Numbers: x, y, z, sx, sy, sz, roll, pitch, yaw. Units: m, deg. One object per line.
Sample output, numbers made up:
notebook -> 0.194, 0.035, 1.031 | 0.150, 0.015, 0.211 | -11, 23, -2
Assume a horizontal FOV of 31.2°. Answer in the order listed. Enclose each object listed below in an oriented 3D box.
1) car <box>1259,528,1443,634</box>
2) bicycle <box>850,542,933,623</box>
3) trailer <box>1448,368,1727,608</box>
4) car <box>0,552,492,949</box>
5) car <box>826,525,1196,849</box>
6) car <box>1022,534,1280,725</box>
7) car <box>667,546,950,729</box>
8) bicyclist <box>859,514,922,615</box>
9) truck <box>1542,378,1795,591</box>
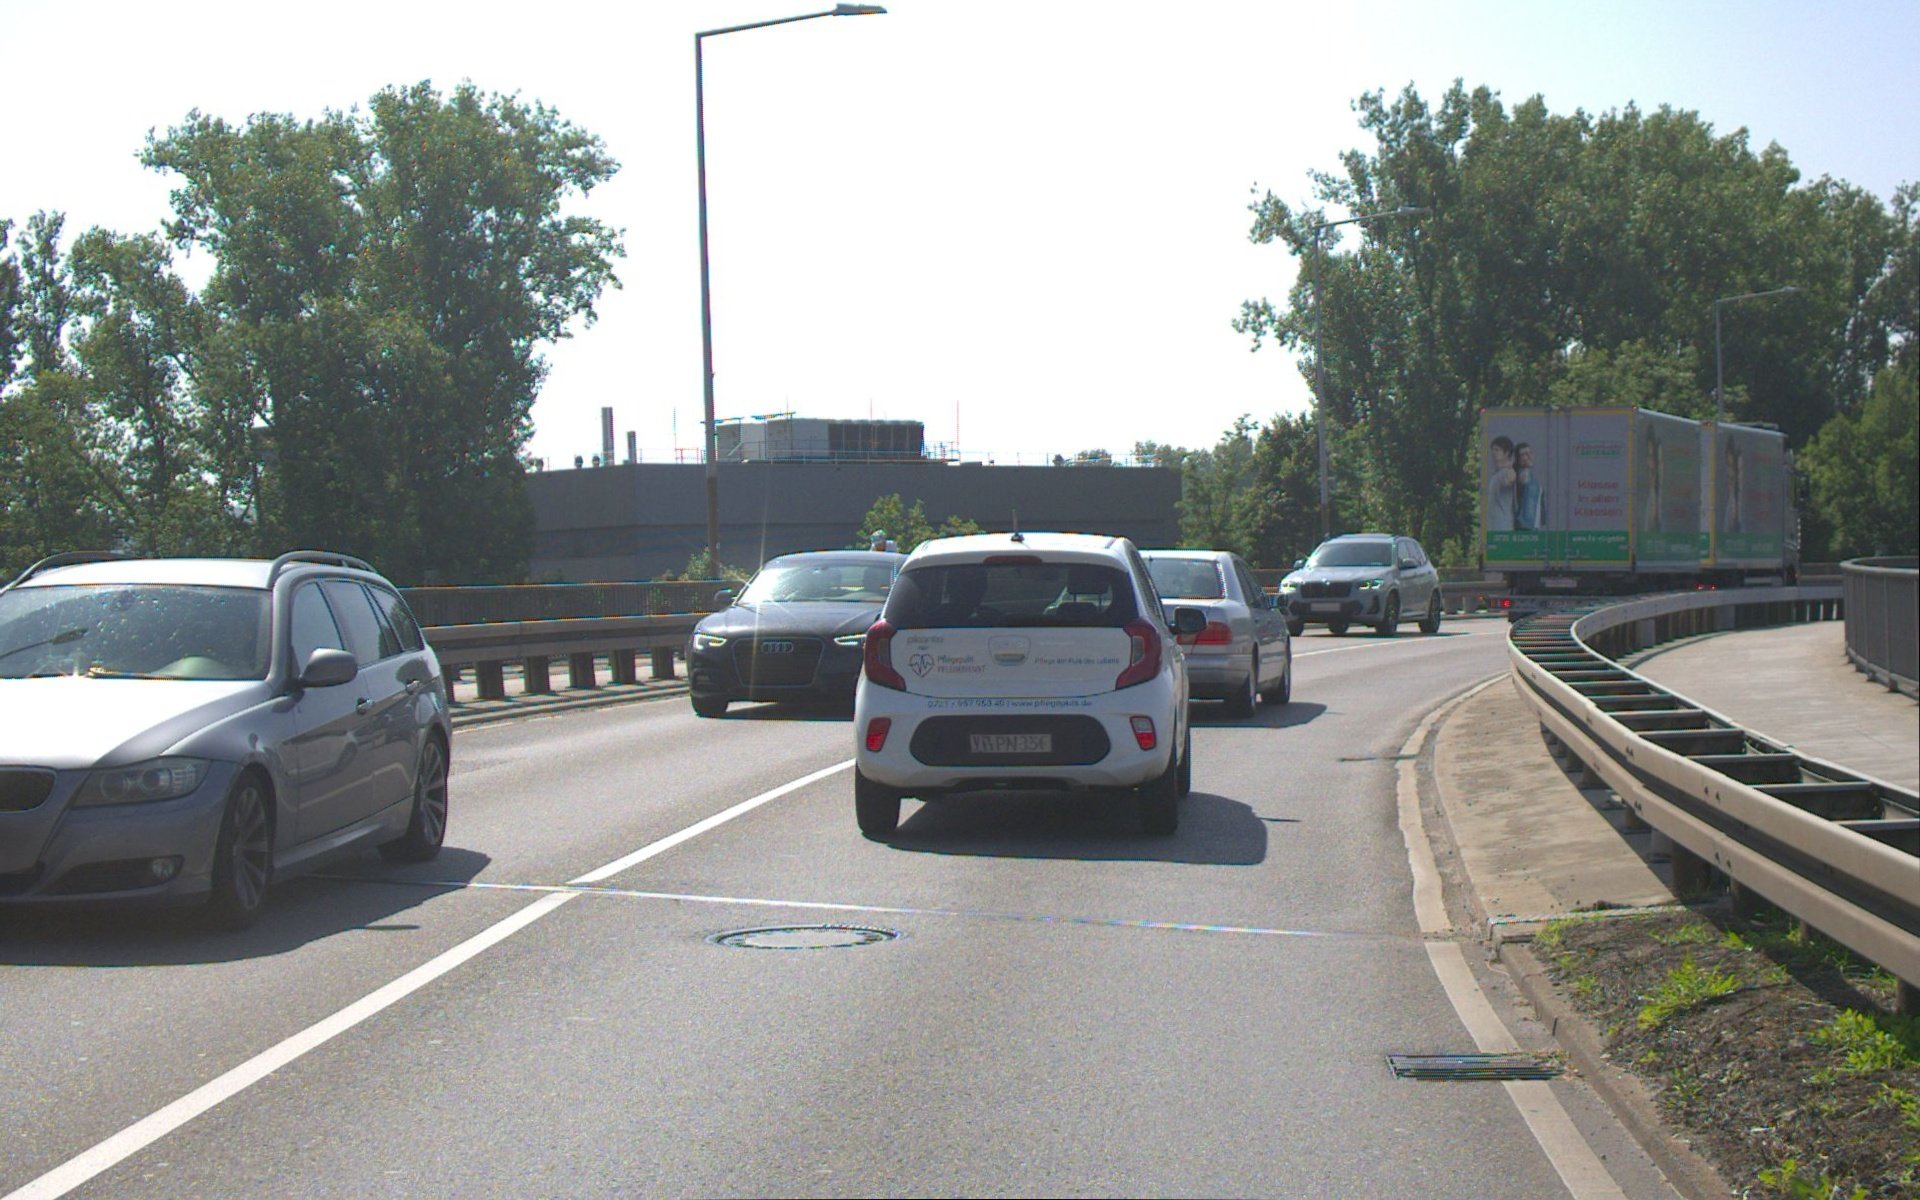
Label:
car -> 6.594, -0.309, 57.594 | 1.860, 1.676, 4.468 | 1, 0, 23
bicycle -> -0.984, -0.256, 50.031 | 0.612, 1.131, 2.148 | -3, -1, 14
trailer -> 10.777, -1.948, 58.394 | 3.228, 3.745, 7.817 | 2, 3, 20
car -> -3.361, 0.506, 14.453 | 1.717, 1.393, 4.181 | 0, 1, 8
car -> 0.377, 0.372, 18.425 | 1.702, 1.489, 4.000 | 1, 2, 5
car -> 1.738, 0.184, 29.682 | 1.939, 1.481, 4.899 | 1, 1, 6
car -> -1.247, 0.271, 30.185 | 1.739, 1.452, 4.298 | 0, 1, 8
bicyclist -> -1.004, -0.509, 50.044 | 0.608, 1.434, 1.077 | -2, 0, 13
truck -> 13.680, -2.258, 65.810 | 3.264, 3.745, 8.362 | 2, 3, 21
